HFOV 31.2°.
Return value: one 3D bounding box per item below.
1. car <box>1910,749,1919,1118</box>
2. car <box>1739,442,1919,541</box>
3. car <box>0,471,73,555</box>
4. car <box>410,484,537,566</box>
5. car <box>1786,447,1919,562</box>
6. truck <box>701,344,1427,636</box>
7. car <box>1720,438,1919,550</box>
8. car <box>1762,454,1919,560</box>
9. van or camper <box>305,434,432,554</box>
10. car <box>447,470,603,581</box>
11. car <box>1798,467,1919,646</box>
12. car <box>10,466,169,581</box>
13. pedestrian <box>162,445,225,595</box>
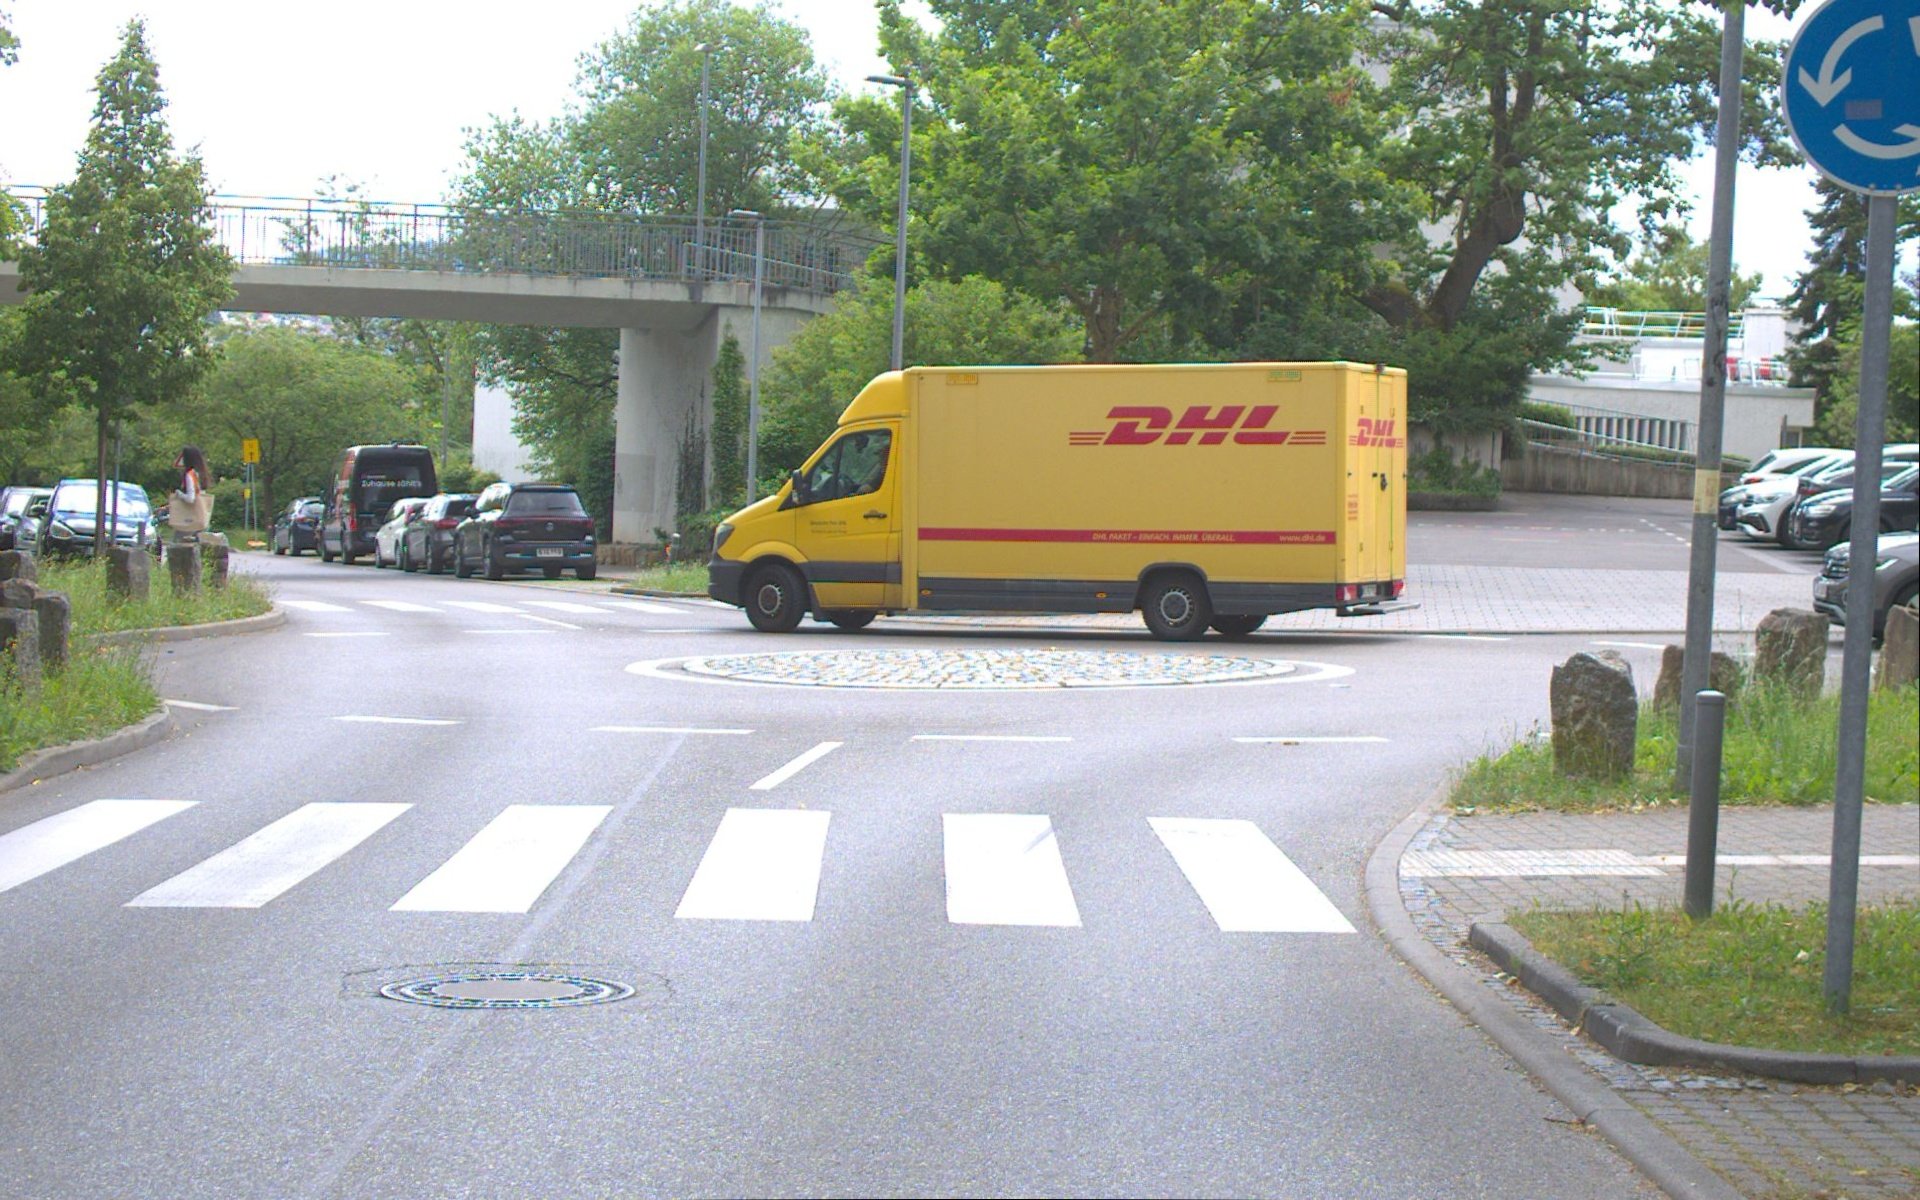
[{"bbox_3d":[4.279,0.623,8.064,3.510,1.456,1.739,1,1,-9],"label":"car"},{"bbox_3d":[15.127,-1.795,57.509,3.983,1.512,1.756,3,2,11],"label":"car"},{"bbox_3d":[-18.099,-1.670,65.365,1.884,1.504,4.454,2,1,-21],"label":"car"},{"bbox_3d":[-9.224,-1.418,64.905,1.699,1.491,4.120,0,1,-18],"label":"car"},{"bbox_3d":[13.698,-1.291,47.965,4.043,1.512,1.755,3,2,10],"label":"car"},{"bbox_3d":[1.019,-1.137,34.624,6.811,2.693,2.471,2,1,24],"label":"truck"},{"bbox_3d":[13.905,-1.602,52.791,4.120,1.588,1.692,3,2,5],"label":"car"},{"bbox_3d":[13.767,-1.332,50.272,3.829,1.453,1.692,3,2,10],"label":"car"},{"bbox_3d":[-13.073,-2.311,75.723,1.993,2.514,5.473,-1,1,-17],"label":"van or camper"},{"bbox_3d":[-7.468,-1.232,58.724,1.813,1.673,4.371,0,-2,-19],"label":"car"},{"bbox_3d":[10.005,-0.407,31.967,3.996,1.612,1.722,0,2,1],"label":"car"},{"bbox_3d":[-12.525,-1.122,49.323,1.785,1.463,4.002,2,2,-20],"label":"car"},{"bbox_3d":[-8.988,-0.946,40.334,0.657,1.716,0.740,2,2,-12],"label":"pedestrian"}]
